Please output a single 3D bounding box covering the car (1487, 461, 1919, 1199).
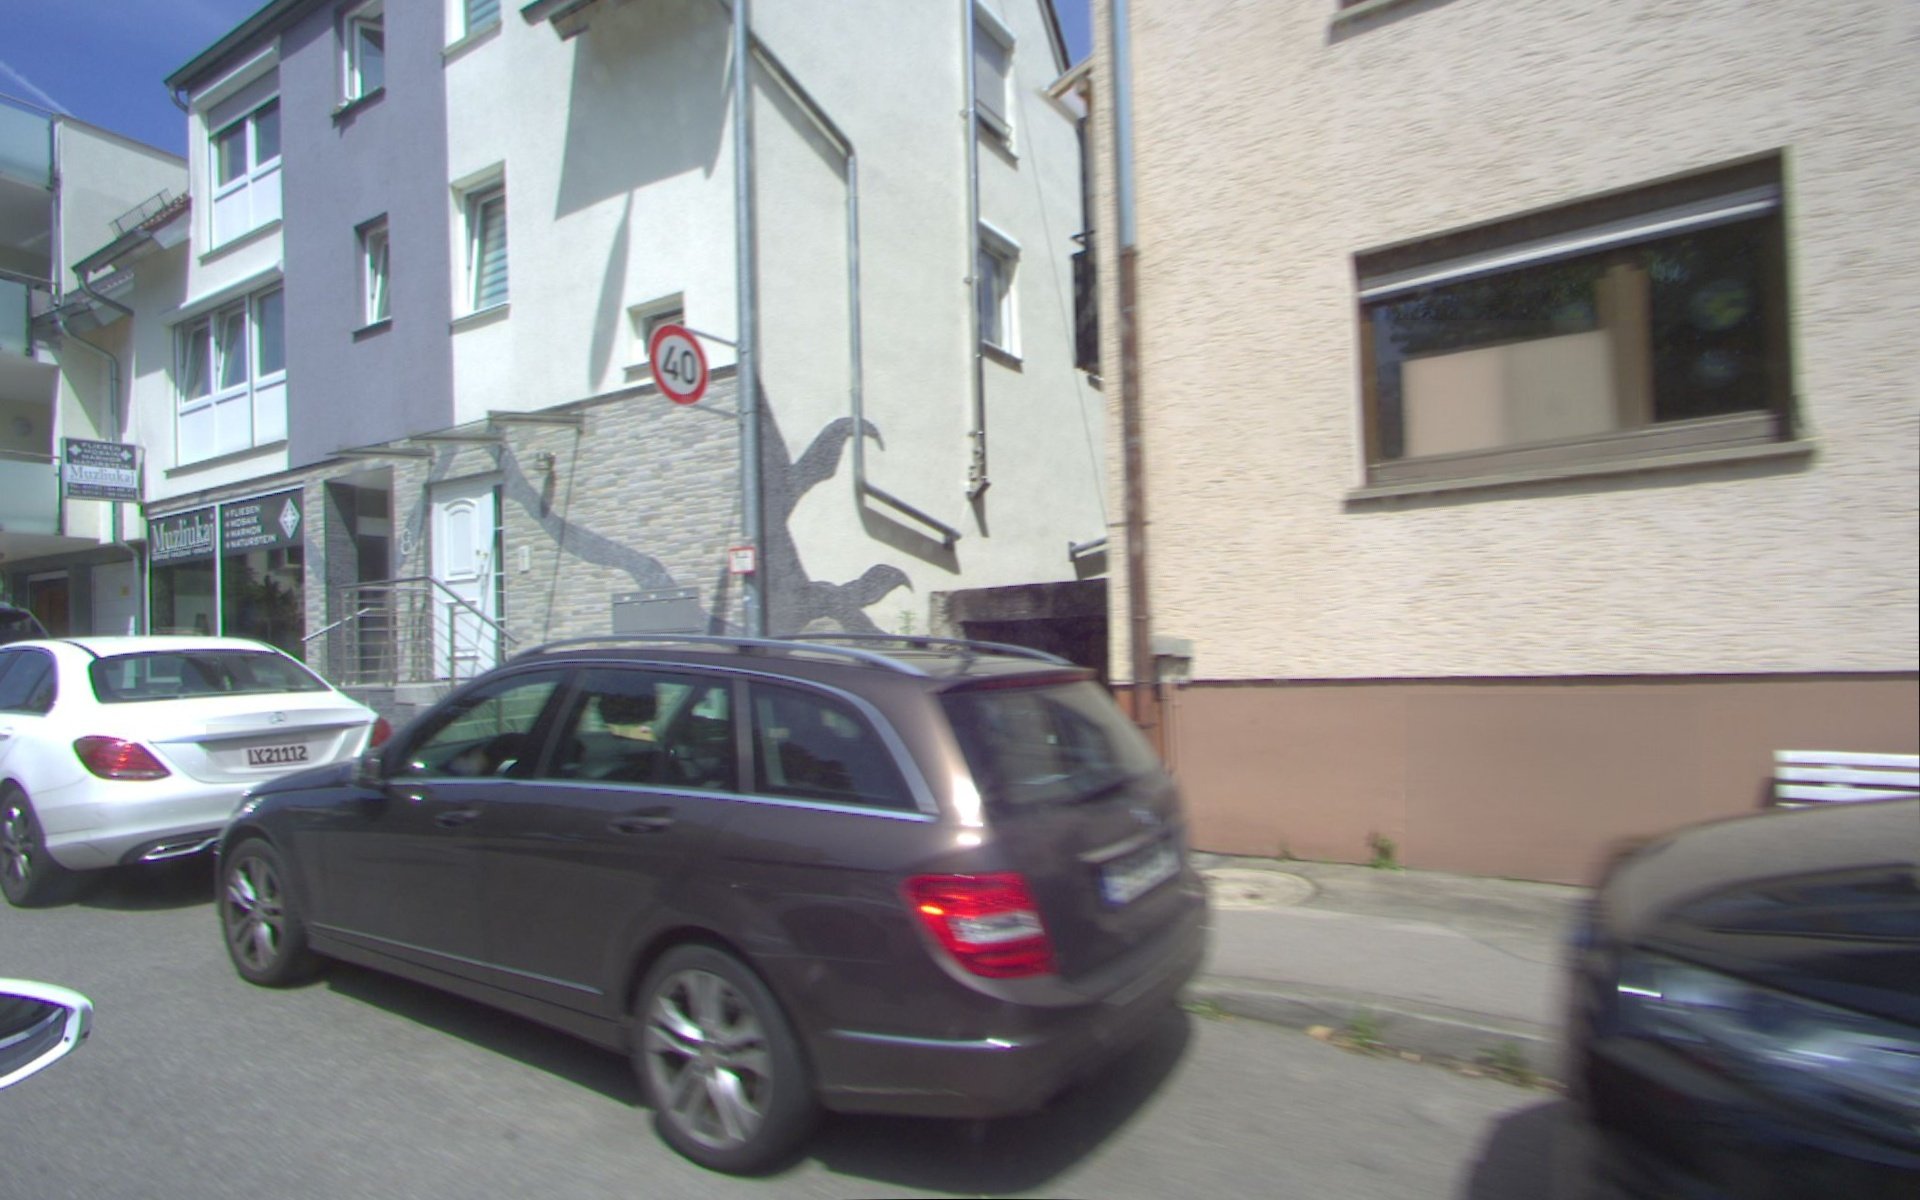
[{"bbox_3d":[3.187,0.663,0.987,4.590,1.691,1.840,-2,-3,33],"label":"car"}]

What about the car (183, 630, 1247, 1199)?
[{"bbox_3d":[-1.220,0.861,4.098,4.296,1.439,1.785,-1,-1,33],"label":"car"}]

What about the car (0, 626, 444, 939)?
[{"bbox_3d":[-5.716,0.920,6.724,4.646,1.474,1.787,-1,-1,30],"label":"car"}]

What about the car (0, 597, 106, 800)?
[{"bbox_3d":[-10.335,0.870,9.509,4.646,1.738,1.951,-1,0,30],"label":"car"}]
